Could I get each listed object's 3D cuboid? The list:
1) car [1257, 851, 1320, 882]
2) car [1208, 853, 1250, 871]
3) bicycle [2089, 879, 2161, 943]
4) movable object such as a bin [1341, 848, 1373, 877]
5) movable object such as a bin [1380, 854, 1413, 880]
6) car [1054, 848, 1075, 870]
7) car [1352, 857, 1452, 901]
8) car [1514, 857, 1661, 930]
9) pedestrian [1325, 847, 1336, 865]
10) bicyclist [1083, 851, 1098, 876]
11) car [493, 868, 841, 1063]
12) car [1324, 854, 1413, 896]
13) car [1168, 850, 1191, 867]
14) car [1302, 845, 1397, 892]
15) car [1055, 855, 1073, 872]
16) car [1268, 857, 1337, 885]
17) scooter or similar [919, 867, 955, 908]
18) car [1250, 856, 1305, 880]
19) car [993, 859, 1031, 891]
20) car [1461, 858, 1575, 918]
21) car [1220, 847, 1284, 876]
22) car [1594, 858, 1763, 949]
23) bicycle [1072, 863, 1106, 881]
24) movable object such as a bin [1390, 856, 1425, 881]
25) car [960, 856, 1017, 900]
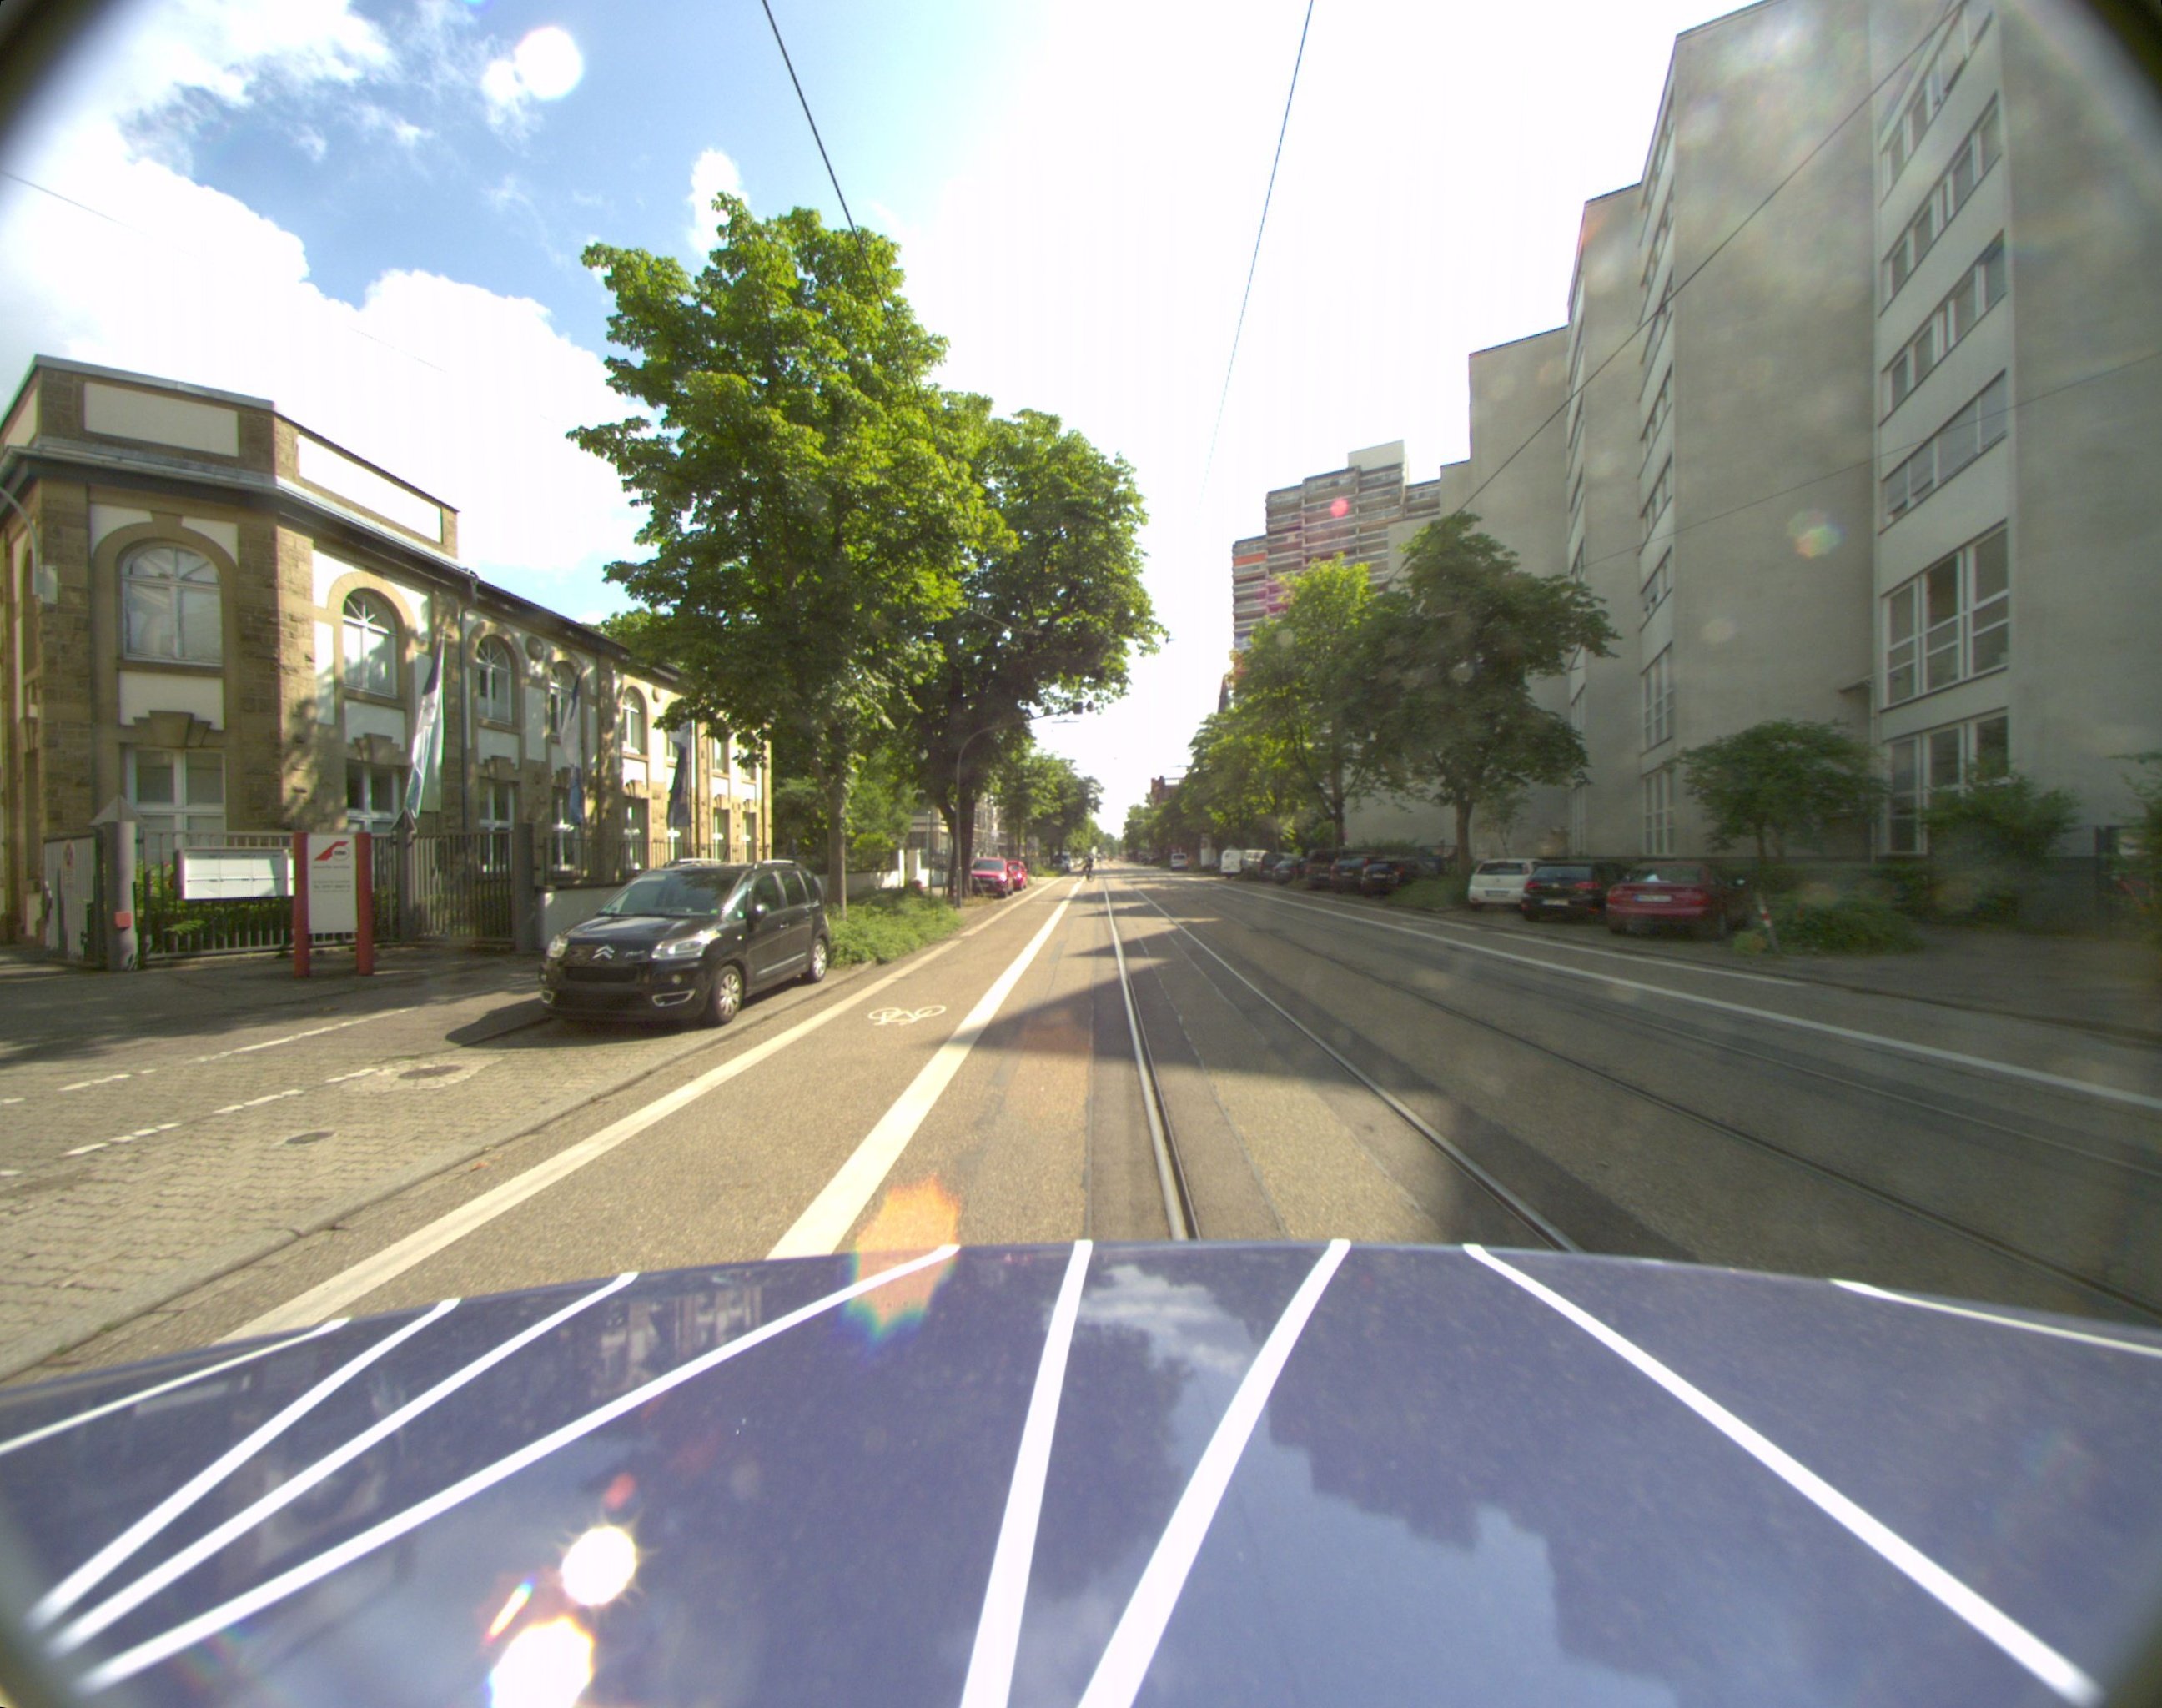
[{"bbox_3d":[11.982,0.743,43.784,3.723,1.683,1.755,1,0,-42],"label":"car"},{"bbox_3d":[13.055,0.701,67.121,3.893,1.514,1.737,-1,0,-45],"label":"car"},{"bbox_3d":[18.364,0.959,13.168,0.383,0.973,1.719,-2,0,29],"label":"bicycle"},{"bbox_3d":[17.824,0.525,49.070,1.391,1.771,1.538,2,1,-3],"label":"movable object such as a bin"},{"bbox_3d":[17.487,0.708,42.166,1.166,1.320,1.441,2,1,0],"label":"movable object such as a bin"},{"bbox_3d":[-2.040,0.603,94.869,2.337,2.545,5.390,-4,0,1],"label":"car"},{"bbox_3d":[11.684,0.884,27.559,4.009,1.475,1.736,1,0,-41],"label":"car"},{"bbox_3d":[11.812,0.870,17.658,3.815,1.475,1.693,1,0,-38],"label":"car"},{"bbox_3d":[22.339,0.154,68.033,0.642,1.615,0.661,-2,1,-7],"label":"pedestrian"},{"bbox_3d":[0.627,0.600,47.731,0.740,1.567,0.644,1,1,26],"label":"bicyclist"},{"bbox_3d":[-4.313,1.019,8.786,1.701,1.582,4.202,1,1,0],"label":"car"},{"bbox_3d":[11.697,0.836,30.803,4.009,1.583,1.736,1,0,-43],"label":"car"},{"bbox_3d":[11.200,0.500,86.974,1.892,1.840,4.235,-4,0,-1],"label":"car"},{"bbox_3d":[12.173,0.631,34.246,5.180,1.943,1.911,1,0,-45],"label":"car"},{"bbox_3d":[-1.839,1.029,84.256,1.750,1.597,4.236,-4,0,1],"label":"car"},{"bbox_3d":[11.803,0.906,40.422,4.009,1.409,1.755,1,0,-45],"label":"car"},{"bbox_3d":[-4.412,1.010,23.365,0.341,1.230,1.262,3,1,26],"label":"scooter or similar"},{"bbox_3d":[12.326,0.883,47.578,1.717,1.409,4.009,2,0,40],"label":"car"},{"bbox_3d":[-3.519,1.035,39.065,1.604,1.420,3.595,2,1,-1],"label":"car"},{"bbox_3d":[12.170,0.889,21.066,3.816,1.475,1.692,1,0,-44],"label":"car"},{"bbox_3d":[12.062,0.510,53.480,4.695,1.985,1.963,0,0,-40],"label":"car"},{"bbox_3d":[11.596,0.867,14.662,3.979,1.475,1.841,1,0,-42],"label":"car"},{"bbox_3d":[0.500,1.125,47.801,1.995,1.034,0.658,0,1,25],"label":"bicycle"},{"bbox_3d":[17.470,0.753,40.695,1.171,1.276,1.441,2,1,0],"label":"movable object such as a bin"},{"bbox_3d":[-3.774,0.940,31.719,1.881,1.666,4.281,1,0,-1],"label":"car"}]
